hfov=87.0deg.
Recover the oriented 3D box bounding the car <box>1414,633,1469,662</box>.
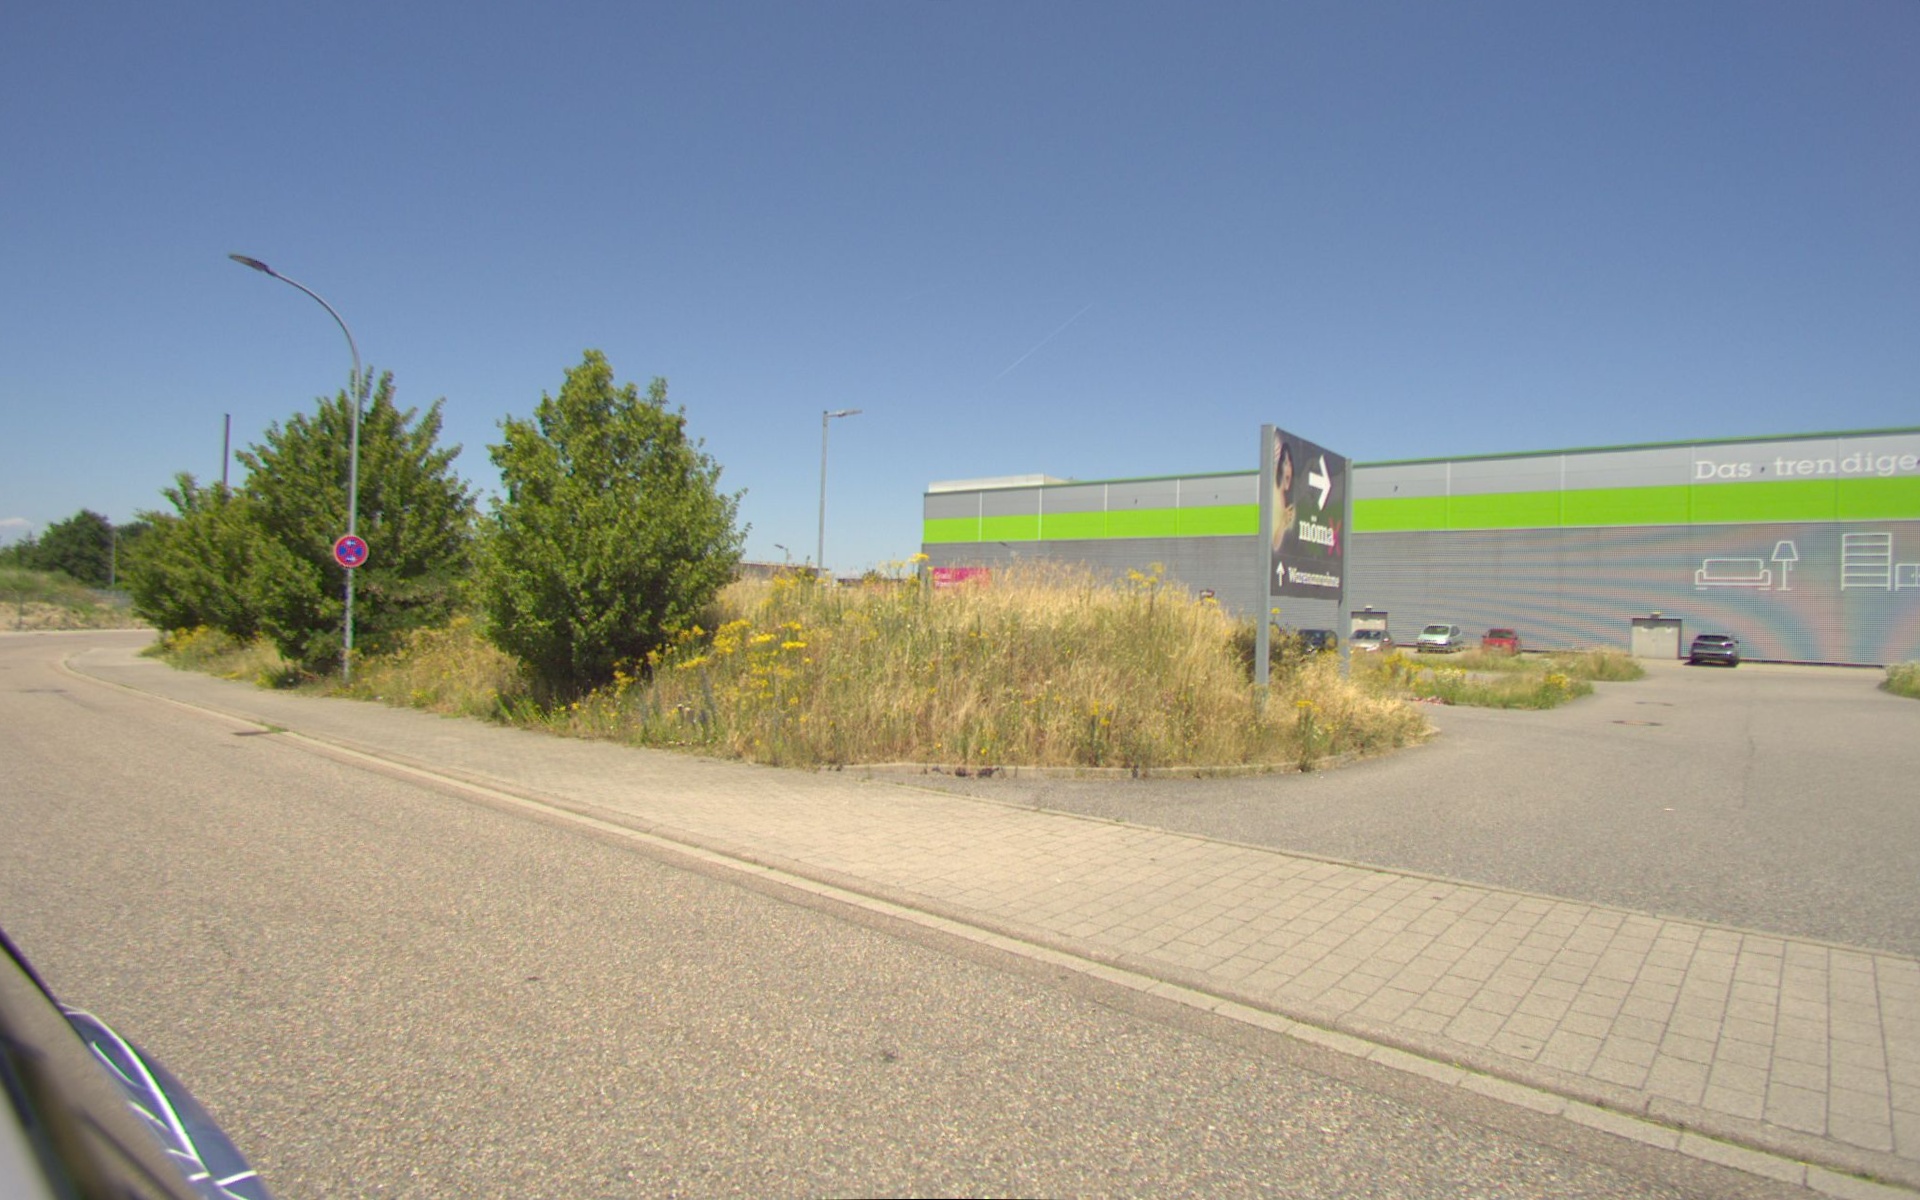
[{"bbox_3d":[26.886,2.632,56.452,2.095,1.500,3.951,-1,-2,36],"label":"car"}]

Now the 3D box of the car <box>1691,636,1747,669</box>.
[{"bbox_3d":[37.071,2.549,49.499,2.095,1.500,3.951,-1,-2,36],"label":"car"}]

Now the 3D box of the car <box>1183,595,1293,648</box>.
[{"bbox_3d":[8.965,0.646,32.442,1.870,1.556,4.304,-1,0,38],"label":"car"}]

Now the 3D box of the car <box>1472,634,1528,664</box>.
[{"bbox_3d":[29.183,2.614,54.638,2.095,1.500,3.951,-1,-2,36],"label":"car"}]
